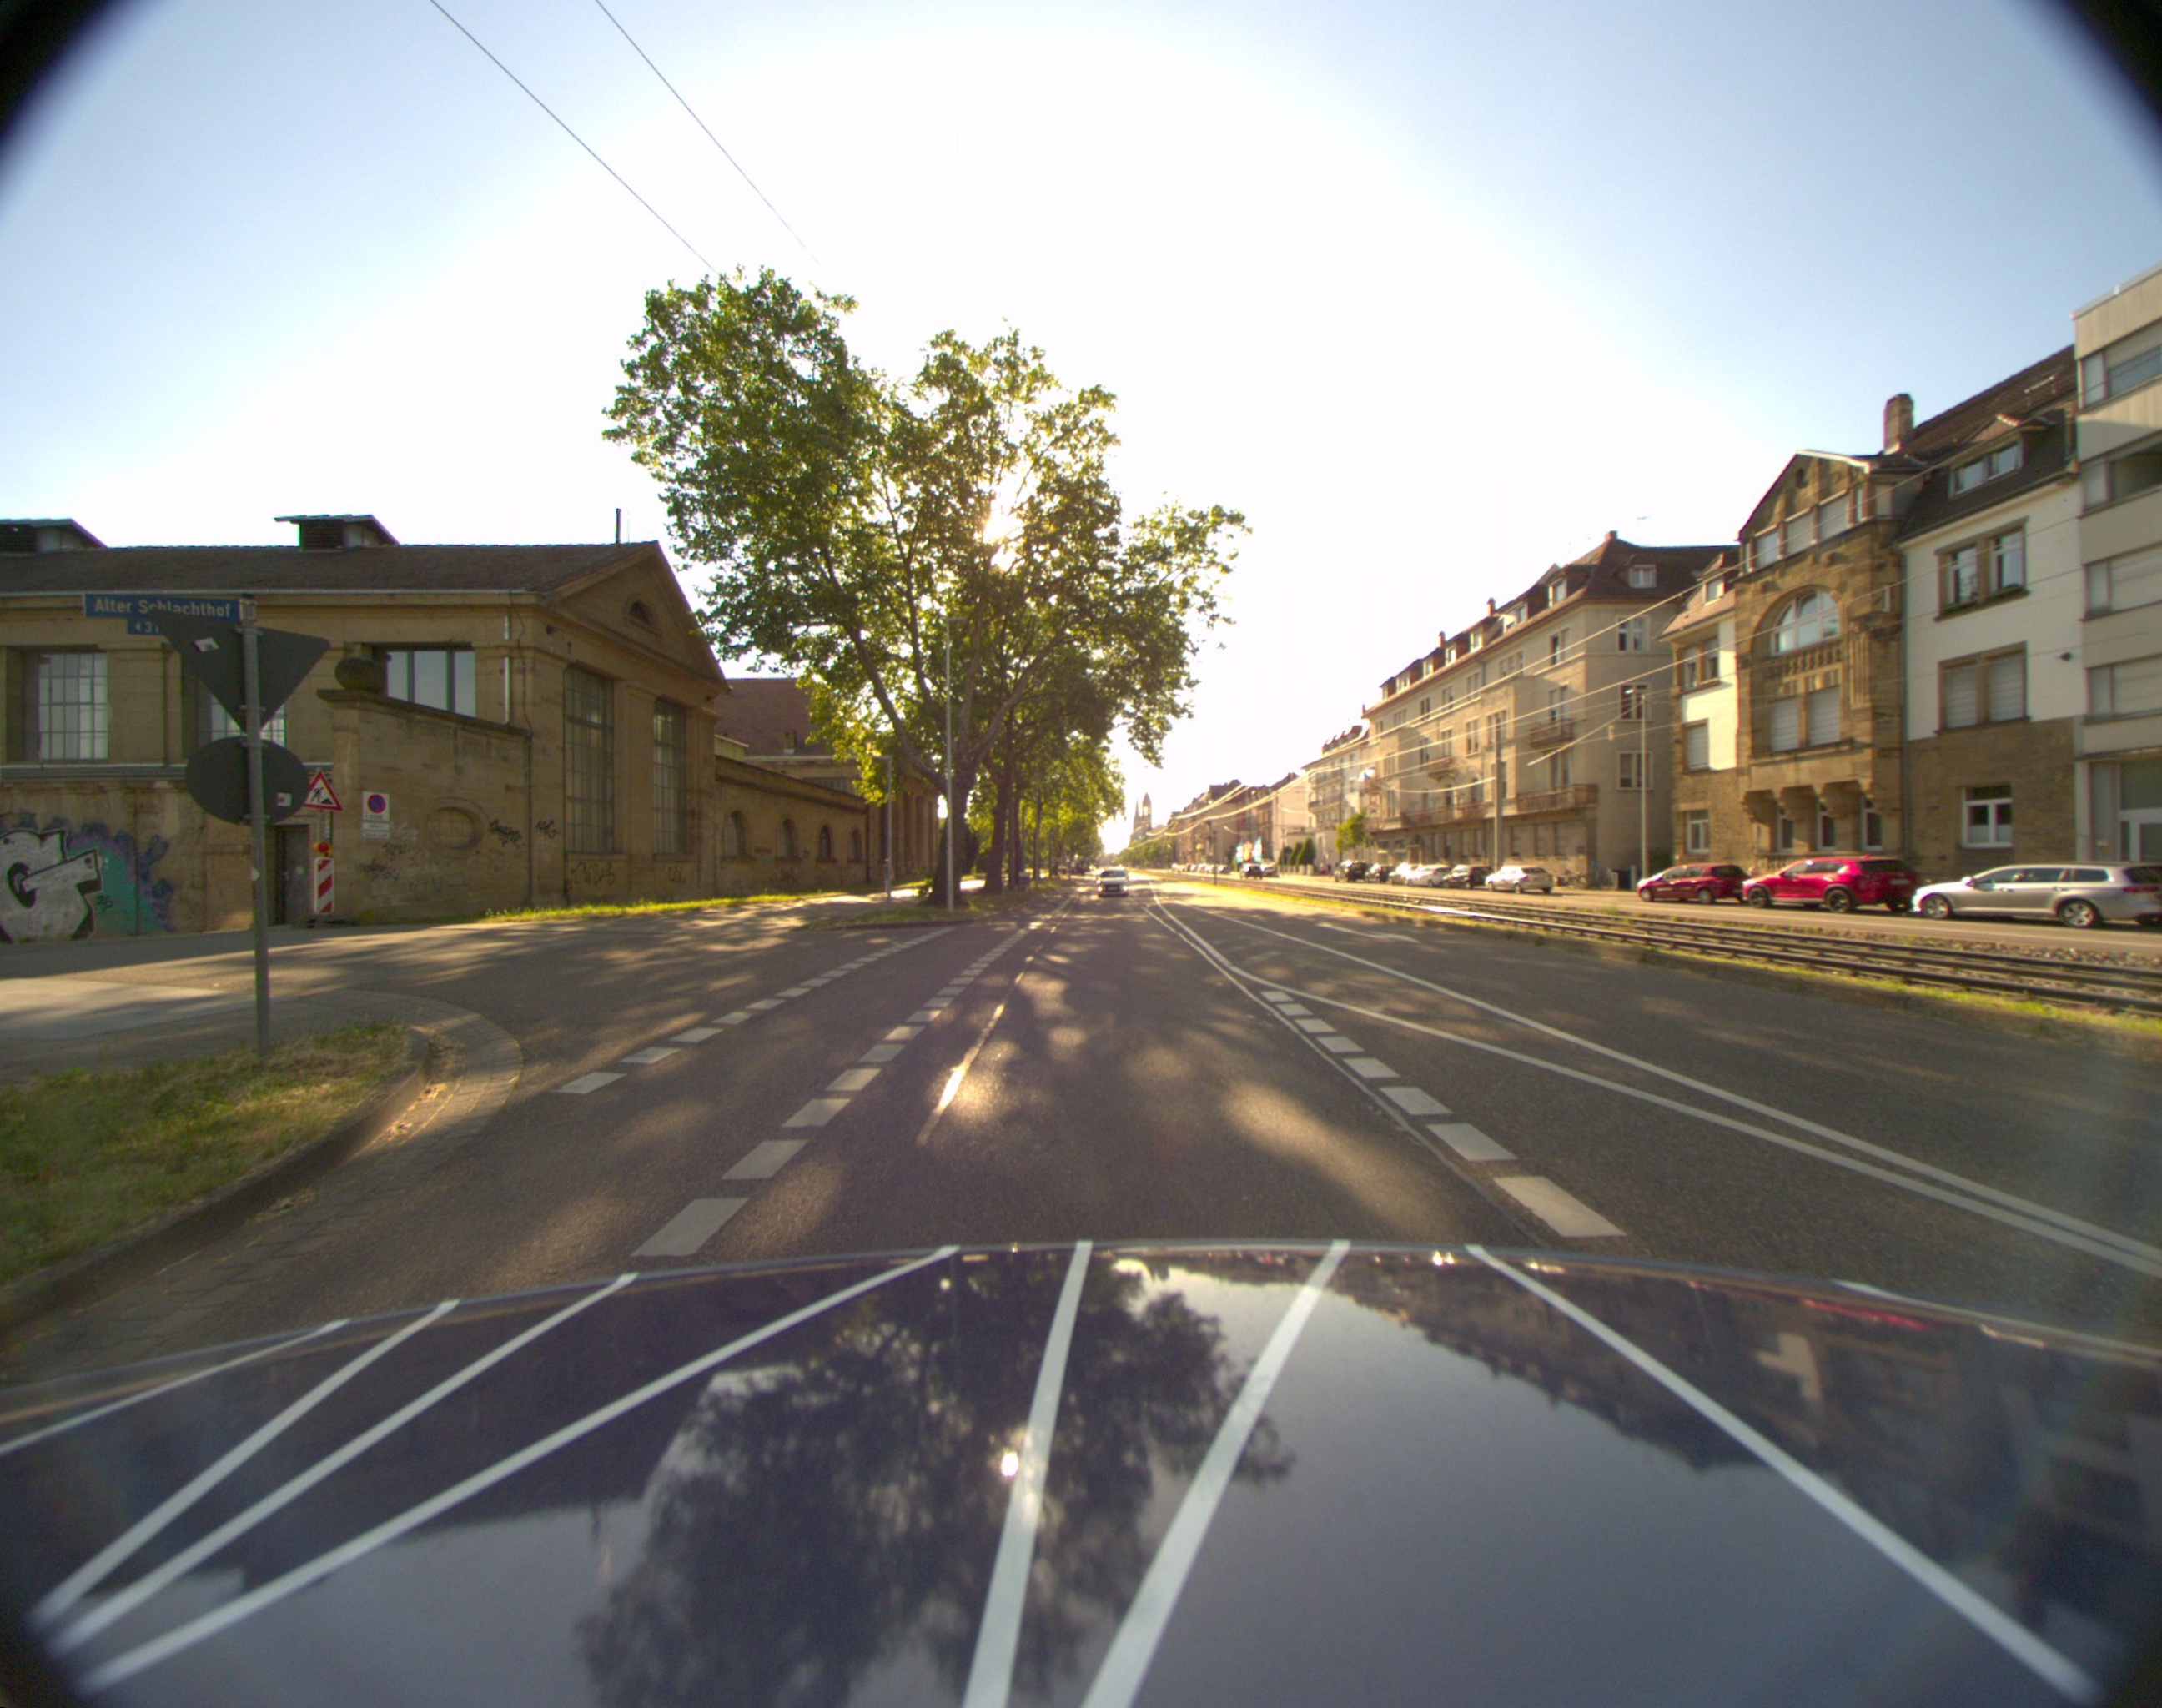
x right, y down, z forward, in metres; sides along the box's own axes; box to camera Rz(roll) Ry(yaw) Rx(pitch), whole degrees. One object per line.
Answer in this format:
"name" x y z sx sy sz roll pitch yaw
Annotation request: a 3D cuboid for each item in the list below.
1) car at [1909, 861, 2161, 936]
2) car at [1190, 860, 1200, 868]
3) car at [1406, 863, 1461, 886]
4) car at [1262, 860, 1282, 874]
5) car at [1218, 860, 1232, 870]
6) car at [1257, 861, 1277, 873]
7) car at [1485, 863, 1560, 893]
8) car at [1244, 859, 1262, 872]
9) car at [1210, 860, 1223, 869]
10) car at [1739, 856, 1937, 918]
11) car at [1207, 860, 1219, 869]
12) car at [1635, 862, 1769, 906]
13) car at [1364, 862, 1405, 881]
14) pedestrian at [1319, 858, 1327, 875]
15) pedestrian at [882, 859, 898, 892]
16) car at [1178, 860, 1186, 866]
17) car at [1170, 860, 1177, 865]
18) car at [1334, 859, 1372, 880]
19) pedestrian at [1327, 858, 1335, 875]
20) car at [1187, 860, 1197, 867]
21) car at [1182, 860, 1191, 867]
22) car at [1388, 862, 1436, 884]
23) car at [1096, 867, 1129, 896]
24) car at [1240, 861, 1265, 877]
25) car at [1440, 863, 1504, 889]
"car" 23.035 0.962 18.060 1.861 1.490 4.382 -2 -1 0
"car" 25.268 2.193 168.194 1.624 1.581 3.450 -2 0 1
"car" 23.153 1.316 50.001 1.642 1.438 3.538 -2 -1 -6
"car" 23.311 1.629 92.843 1.677 1.622 3.408 -2 0 1
"car" 24.465 1.829 128.968 1.624 1.581 3.450 -2 0 1
"car" 23.950 1.665 98.052 1.684 1.562 3.389 -2 0 1
"car" 23.405 1.242 40.473 1.802 1.470 3.823 -2 -1 1
"car" 24.532 1.561 108.375 1.727 1.776 3.881 -2 0 1
"car" 24.636 1.932 138.327 1.624 1.581 3.450 -2 0 1
"car" 23.060 0.941 23.415 1.860 1.677 4.264 -2 -1 2
"car" 24.912 1.996 143.820 1.624 1.581 3.450 -2 0 1
"car" 23.214 1.073 28.609 1.756 1.487 3.729 -2 -1 -5
"car" 24.232 1.376 60.835 1.802 1.470 3.823 -2 -1 1
"pedestrian" 26.289 1.378 82.523 0.725 1.779 0.678 0 0 0
"pedestrian" -9.557 1.064 38.083 0.672 1.652 0.874 1 0 -7
"car" 25.335 2.281 191.245 1.624 1.581 3.450 -2 0 1
"car" 26.467 2.414 218.440 1.624 1.581 3.450 -2 0 1
"car" 23.676 1.348 66.278 1.875 1.726 3.916 -2 0 1
"pedestrian" 27.102 1.361 82.403 0.725 1.779 0.678 0 0 0
"car" 25.293 2.203 173.316 1.624 1.581 3.450 -2 0 1
"car" 25.014 2.150 180.679 1.624 1.581 3.450 -2 0 1
"car" 23.840 1.314 54.902 1.802 1.470 3.823 -2 -1 1
"car" 1.760 1.491 42.014 1.686 1.462 4.056 -2 -1 2
"car" 18.524 1.590 82.082 1.822 1.674 4.001 0 0 1
"car" 23.537 1.284 45.855 1.802 1.422 3.823 -2 -1 -1
